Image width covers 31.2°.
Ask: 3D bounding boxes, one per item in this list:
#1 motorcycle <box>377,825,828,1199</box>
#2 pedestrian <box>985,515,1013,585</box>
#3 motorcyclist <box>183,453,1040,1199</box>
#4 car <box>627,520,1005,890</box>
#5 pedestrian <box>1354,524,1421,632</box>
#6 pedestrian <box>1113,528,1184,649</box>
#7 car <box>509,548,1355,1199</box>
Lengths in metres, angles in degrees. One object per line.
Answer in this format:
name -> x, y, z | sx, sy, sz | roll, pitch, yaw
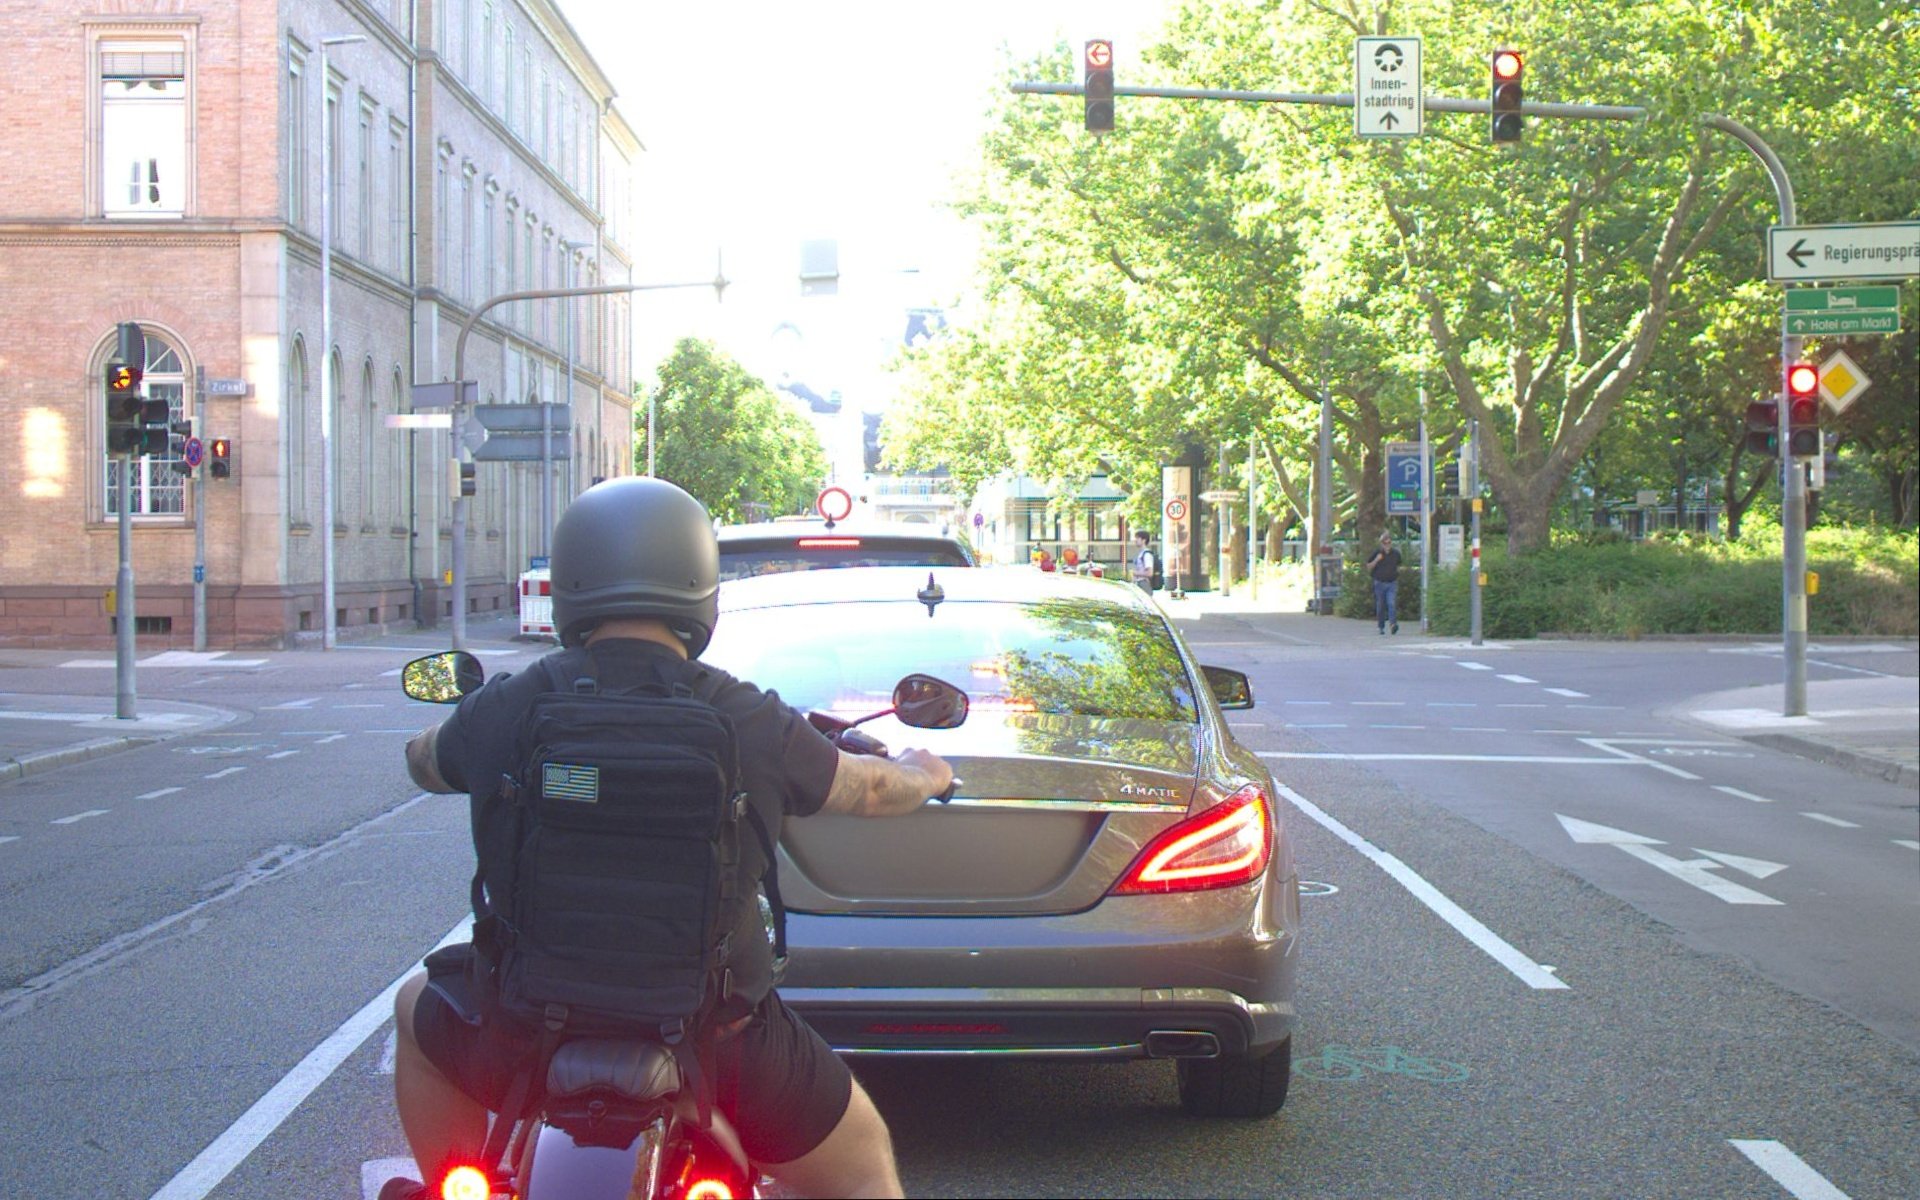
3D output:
motorcycle -> -0.498, 0.930, 5.375 | 0.513, 0.999, 2.013 | 1, 1, -1
pedestrian -> 1.151, -1.455, 100.902 | 0.764, 2.044, 0.712 | 1, 0, -1
motorcyclist -> -0.485, 0.599, 5.314 | 1.149, 1.593, 1.288 | 1, 0, -1
car -> -0.638, 0.414, 16.755 | 1.621, 1.588, 4.000 | 0, 1, -1
pedestrian -> 7.616, -0.399, 61.269 | 0.749, 1.903, 0.926 | 1, 0, -28
pedestrian -> 2.890, -0.184, 52.621 | 1.002, 1.820, 1.076 | 1, 0, 6
car -> -0.085, 0.598, 9.639 | 1.882, 1.444, 3.820 | 1, 1, -1
